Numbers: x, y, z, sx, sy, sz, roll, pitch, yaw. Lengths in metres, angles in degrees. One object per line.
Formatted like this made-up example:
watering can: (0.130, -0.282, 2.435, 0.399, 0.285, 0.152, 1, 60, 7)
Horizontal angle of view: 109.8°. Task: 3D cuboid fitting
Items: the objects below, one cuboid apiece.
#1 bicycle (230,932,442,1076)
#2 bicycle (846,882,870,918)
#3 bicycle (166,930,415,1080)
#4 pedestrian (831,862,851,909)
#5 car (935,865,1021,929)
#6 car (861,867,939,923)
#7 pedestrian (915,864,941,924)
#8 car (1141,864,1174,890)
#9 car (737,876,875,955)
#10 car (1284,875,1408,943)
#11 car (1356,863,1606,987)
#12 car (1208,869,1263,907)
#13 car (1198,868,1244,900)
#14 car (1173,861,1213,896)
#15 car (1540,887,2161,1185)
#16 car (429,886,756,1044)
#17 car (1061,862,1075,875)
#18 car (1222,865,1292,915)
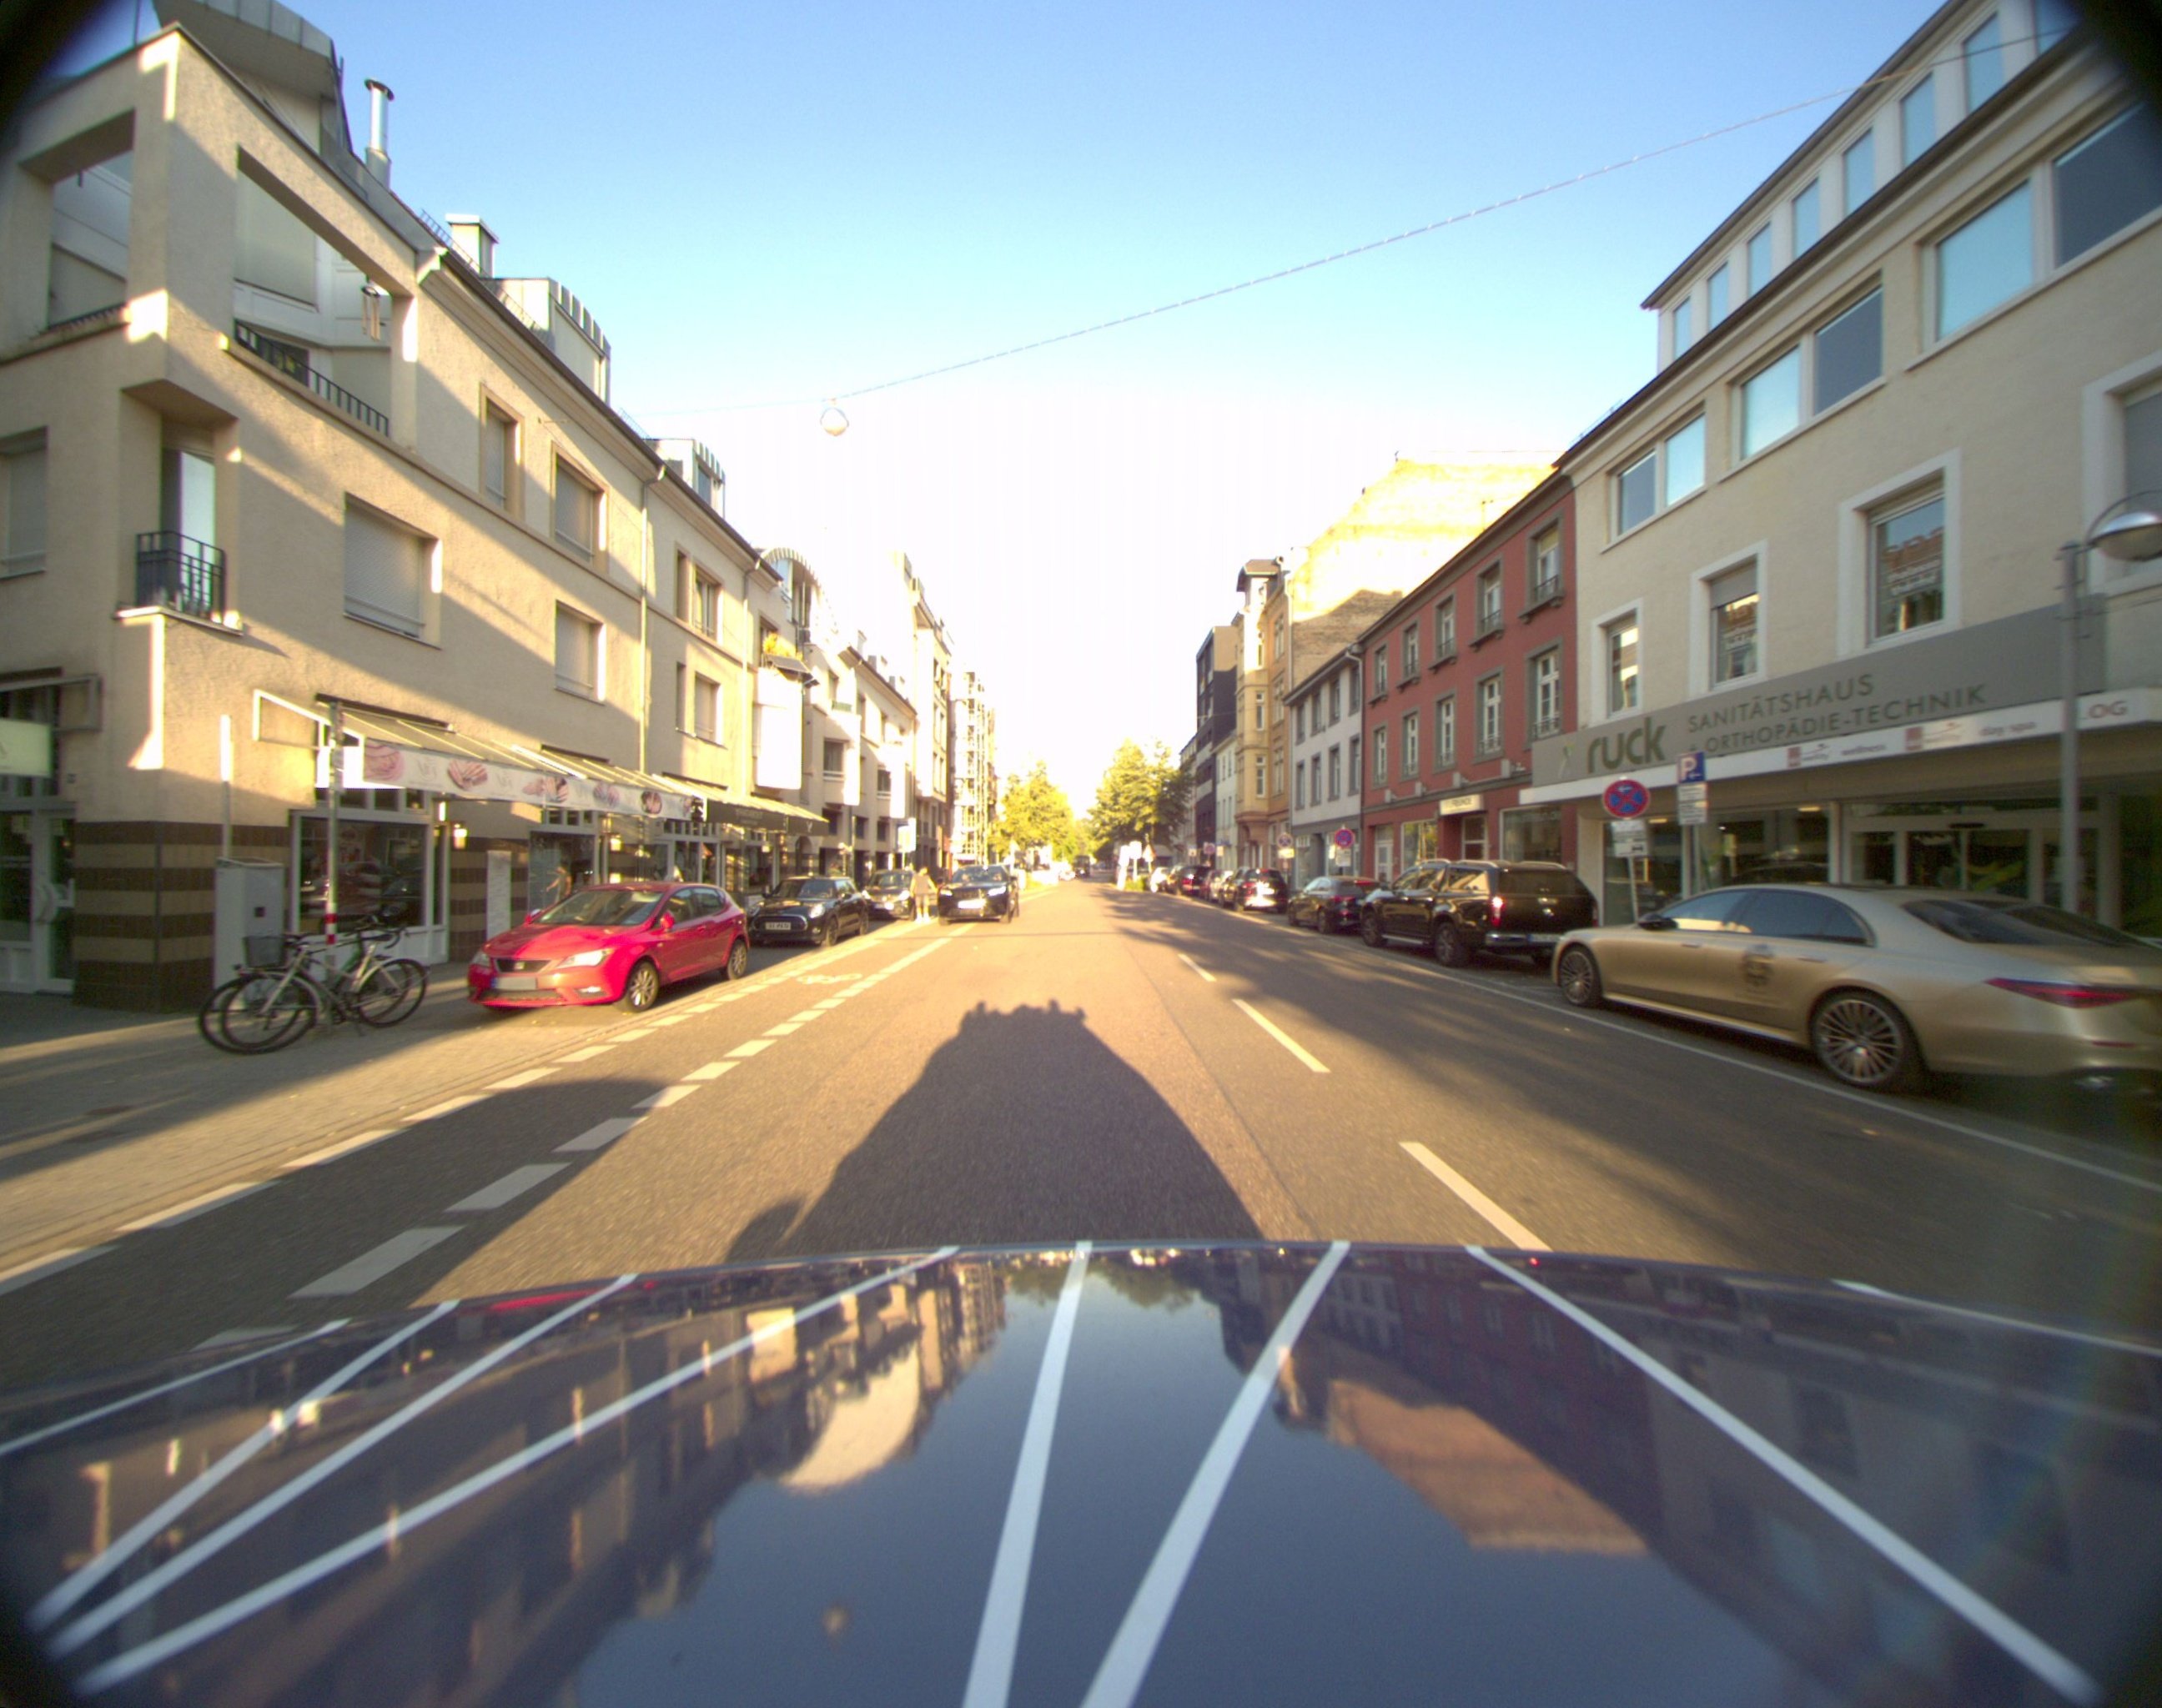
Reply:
bicycle: (-6.961, 1.345, 7.213, 0.315, 1.040, 1.665, 1, 0, 2)
bicycle: (-7.204, 1.474, 24.587, 0.296, 1.079, 1.463, -1, 0, 1)
bicycle: (-7.305, 1.331, 7.169, 0.315, 1.040, 1.882, 1, 0, 2)
pedestrian: (-9.277, 1.224, 29.391, 0.576, 1.789, 0.450, -2, 0, 1)
car: (-2.867, 1.154, 22.072, 1.890, 1.626, 4.227, -1, 0, 0)
car: (-5.669, 1.236, 24.226, 1.621, 1.583, 3.925, 0, 0, -1)
pedestrian: (-4.524, 1.171, 22.529, 0.631, 1.739, 0.670, 1, 0, -1)
car: (4.867, 1.455, 48.698, 1.673, 1.512, 3.565, 2, 0, -1)
car: (-5.819, 1.246, 16.561, 1.621, 1.425, 3.925, 0, 0, -1)
car: (6.733, 1.345, 19.768, 1.705, 1.429, 4.014, 3, 0, -1)
car: (6.763, 1.072, 13.607, 1.725, 1.768, 4.938, 2, -1, -2)
car: (6.640, 1.434, 33.052, 1.689, 1.461, 3.691, 3, 0, 2)
car: (6.877, 1.447, 37.619, 1.673, 1.448, 3.566, 3, 0, 2)
car: (6.054, 1.298, 41.534, 1.673, 1.764, 3.566, 3, 0, 2)
car: (6.564, 1.135, 6.727, 1.998, 1.464, 5.108, 1, -1, 2)
car: (-5.710, 1.190, 9.539, 1.593, 1.425, 3.925, 1, 0, -1)
car: (-1.602, 1.786, 92.591, 1.622, 1.465, 3.688, -2, 0, 0)
car: (6.498, 1.282, 28.509, 1.724, 1.673, 4.050, 3, 0, 2)
